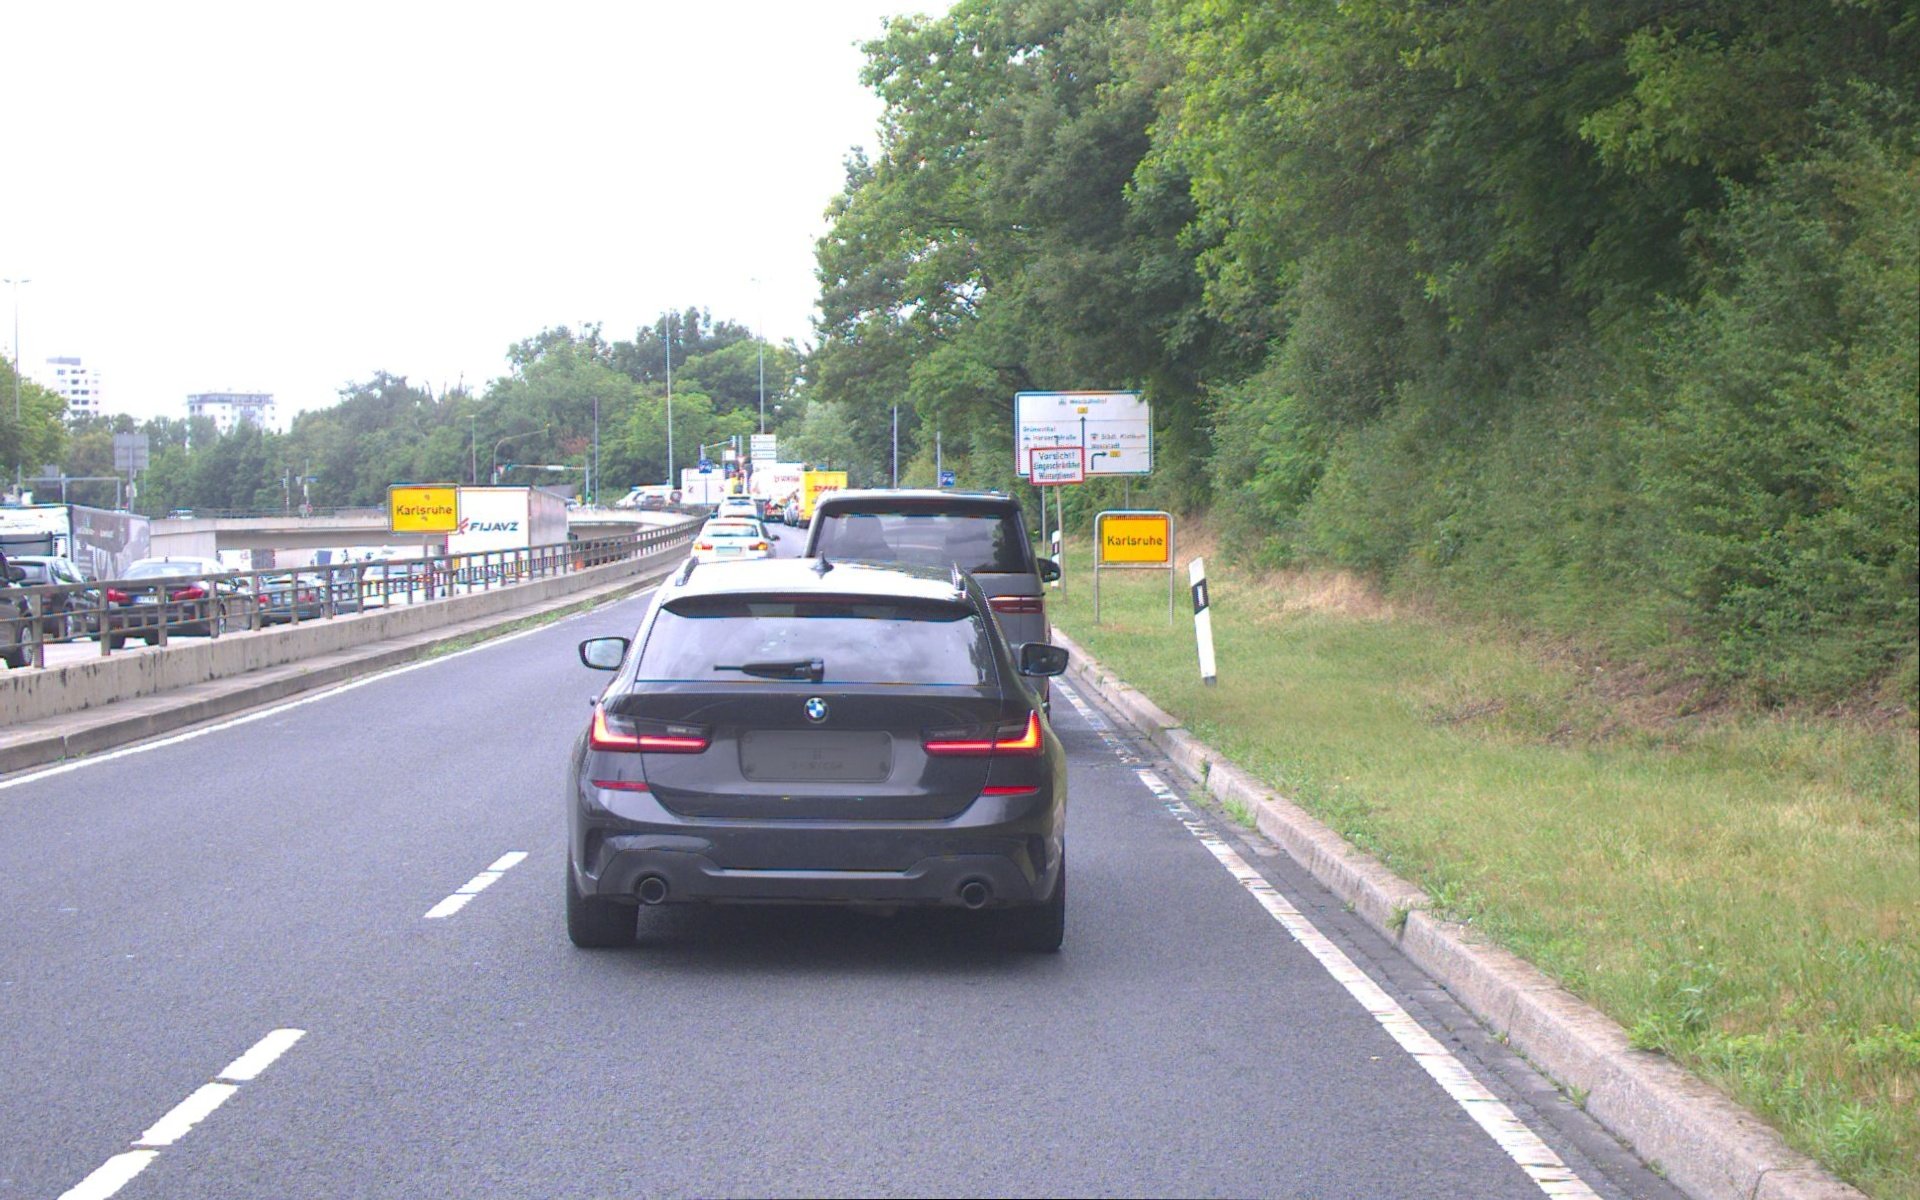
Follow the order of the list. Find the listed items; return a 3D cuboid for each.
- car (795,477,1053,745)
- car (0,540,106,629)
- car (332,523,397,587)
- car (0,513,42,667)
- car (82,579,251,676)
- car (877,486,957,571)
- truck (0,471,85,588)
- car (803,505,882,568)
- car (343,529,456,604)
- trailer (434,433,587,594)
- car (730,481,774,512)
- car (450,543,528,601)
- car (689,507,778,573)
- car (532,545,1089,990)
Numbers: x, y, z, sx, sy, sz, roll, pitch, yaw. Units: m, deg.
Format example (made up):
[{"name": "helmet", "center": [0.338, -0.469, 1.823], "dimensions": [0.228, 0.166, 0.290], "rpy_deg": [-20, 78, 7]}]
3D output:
[{"name": "car", "center": [-0.277, 0.038, 25.976], "dimensions": [1.796, 1.865, 4.000], "rpy_deg": [0, 1, -1]}, {"name": "car", "center": [-17.624, -0.315, 65.781], "dimensions": [1.687, 1.602, 4.008], "rpy_deg": [1, 1, -2]}, {"name": "car", "center": [-19.410, -1.473, 112.174], "dimensions": [1.443, 2.037, 3.680], "rpy_deg": [0, 1, 0]}, {"name": "car", "center": [-12.500, -0.122, 40.984], "dimensions": [1.993, 1.845, 4.812], "rpy_deg": [0, 1, -2]}, {"name": "car", "center": [-13.026, 0.418, 56.693], "dimensions": [1.712, 1.452, 4.666], "rpy_deg": [0, 1, 0]}, {"name": "car", "center": [-0.798, -1.328, 63.850], "dimensions": [1.452, 1.535, 3.225], "rpy_deg": [0, 1, -1]}, {"name": "truck", "center": [-30.808, -2.327, 113.565], "dimensions": [2.592, 3.755, 4.778], "rpy_deg": [0, 1, -1]}, {"name": "car", "center": [-2.831, -1.537, 83.108], "dimensions": [1.859, 1.459, 4.534], "rpy_deg": [0, 1, -2]}, {"name": "car", "center": [-13.125, -0.817, 80.739], "dimensions": [1.946, 1.686, 4.507], "rpy_deg": [0, 1, 0]}, {"name": "trailer", "center": [-14.037, -2.671, 108.615], "dimensions": [3.132, 4.709, 14.559], "rpy_deg": [1, 1, -1]}, {"name": "car", "center": [-11.027, -5.467, 182.293], "dimensions": [1.930, 1.590, 3.878], "rpy_deg": [-1, 1, -9]}, {"name": "car", "center": [-12.946, -0.787, 94.626], "dimensions": [1.768, 1.544, 3.493], "rpy_deg": [0, 1, -2]}, {"name": "car", "center": [-5.170, -1.391, 78.888], "dimensions": [1.859, 1.459, 4.885], "rpy_deg": [0, 1, -2]}, {"name": "car", "center": [-0.585, 0.532, 13.511], "dimensions": [1.846, 1.461, 4.001], "rpy_deg": [1, 1, -2]}]
